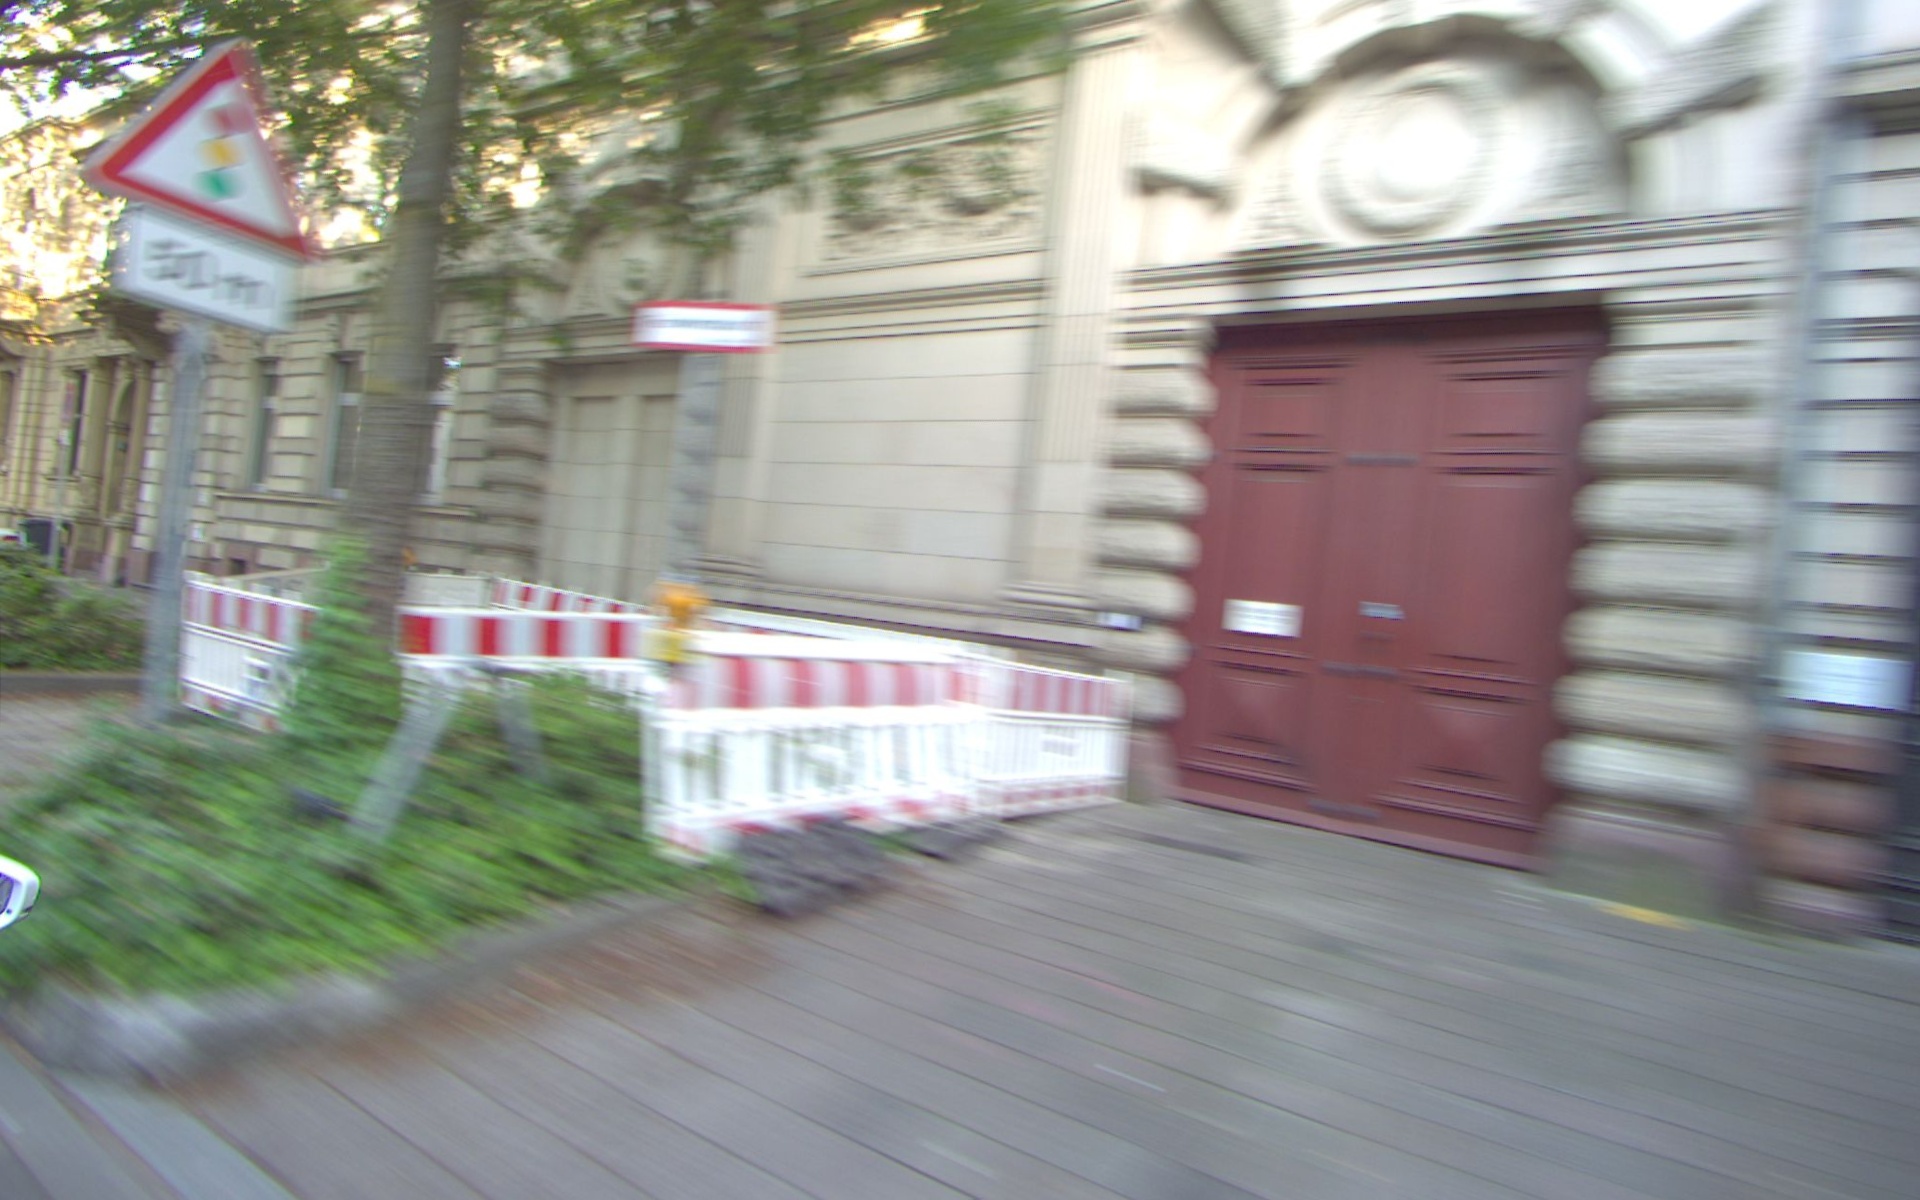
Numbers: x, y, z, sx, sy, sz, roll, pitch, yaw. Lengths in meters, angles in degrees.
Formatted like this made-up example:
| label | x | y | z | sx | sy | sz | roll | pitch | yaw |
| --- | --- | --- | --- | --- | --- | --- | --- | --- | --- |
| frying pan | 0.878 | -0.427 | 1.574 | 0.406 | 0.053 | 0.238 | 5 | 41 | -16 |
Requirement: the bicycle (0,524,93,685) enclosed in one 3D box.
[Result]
| label | x | y | z | sx | sy | sz | roll | pitch | yaw |
| --- | --- | --- | --- | --- | --- | --- | --- | --- | --- |
| bicycle | -8.829 | -0.036 | 8.536 | 0.500 | 1.376 | 2.051 | 7 | -2 | 30 |

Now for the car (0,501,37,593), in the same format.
| label | x | y | z | sx | sy | sz | roll | pitch | yaw |
| --- | --- | --- | --- | --- | --- | --- | --- | --- | --- |
| car | -17.358 | -1.116 | 15.249 | 1.894 | 1.454 | 4.587 | 6 | -1 | 34 |

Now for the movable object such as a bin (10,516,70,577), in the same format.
| label | x | y | z | sx | sy | sz | roll | pitch | yaw |
| --- | --- | --- | --- | --- | --- | --- | --- | --- | --- |
| movable object such as a bin | -17.691 | -1.027 | 19.353 | 0.605 | 1.077 | 0.658 | 6 | 0 | 32 |
